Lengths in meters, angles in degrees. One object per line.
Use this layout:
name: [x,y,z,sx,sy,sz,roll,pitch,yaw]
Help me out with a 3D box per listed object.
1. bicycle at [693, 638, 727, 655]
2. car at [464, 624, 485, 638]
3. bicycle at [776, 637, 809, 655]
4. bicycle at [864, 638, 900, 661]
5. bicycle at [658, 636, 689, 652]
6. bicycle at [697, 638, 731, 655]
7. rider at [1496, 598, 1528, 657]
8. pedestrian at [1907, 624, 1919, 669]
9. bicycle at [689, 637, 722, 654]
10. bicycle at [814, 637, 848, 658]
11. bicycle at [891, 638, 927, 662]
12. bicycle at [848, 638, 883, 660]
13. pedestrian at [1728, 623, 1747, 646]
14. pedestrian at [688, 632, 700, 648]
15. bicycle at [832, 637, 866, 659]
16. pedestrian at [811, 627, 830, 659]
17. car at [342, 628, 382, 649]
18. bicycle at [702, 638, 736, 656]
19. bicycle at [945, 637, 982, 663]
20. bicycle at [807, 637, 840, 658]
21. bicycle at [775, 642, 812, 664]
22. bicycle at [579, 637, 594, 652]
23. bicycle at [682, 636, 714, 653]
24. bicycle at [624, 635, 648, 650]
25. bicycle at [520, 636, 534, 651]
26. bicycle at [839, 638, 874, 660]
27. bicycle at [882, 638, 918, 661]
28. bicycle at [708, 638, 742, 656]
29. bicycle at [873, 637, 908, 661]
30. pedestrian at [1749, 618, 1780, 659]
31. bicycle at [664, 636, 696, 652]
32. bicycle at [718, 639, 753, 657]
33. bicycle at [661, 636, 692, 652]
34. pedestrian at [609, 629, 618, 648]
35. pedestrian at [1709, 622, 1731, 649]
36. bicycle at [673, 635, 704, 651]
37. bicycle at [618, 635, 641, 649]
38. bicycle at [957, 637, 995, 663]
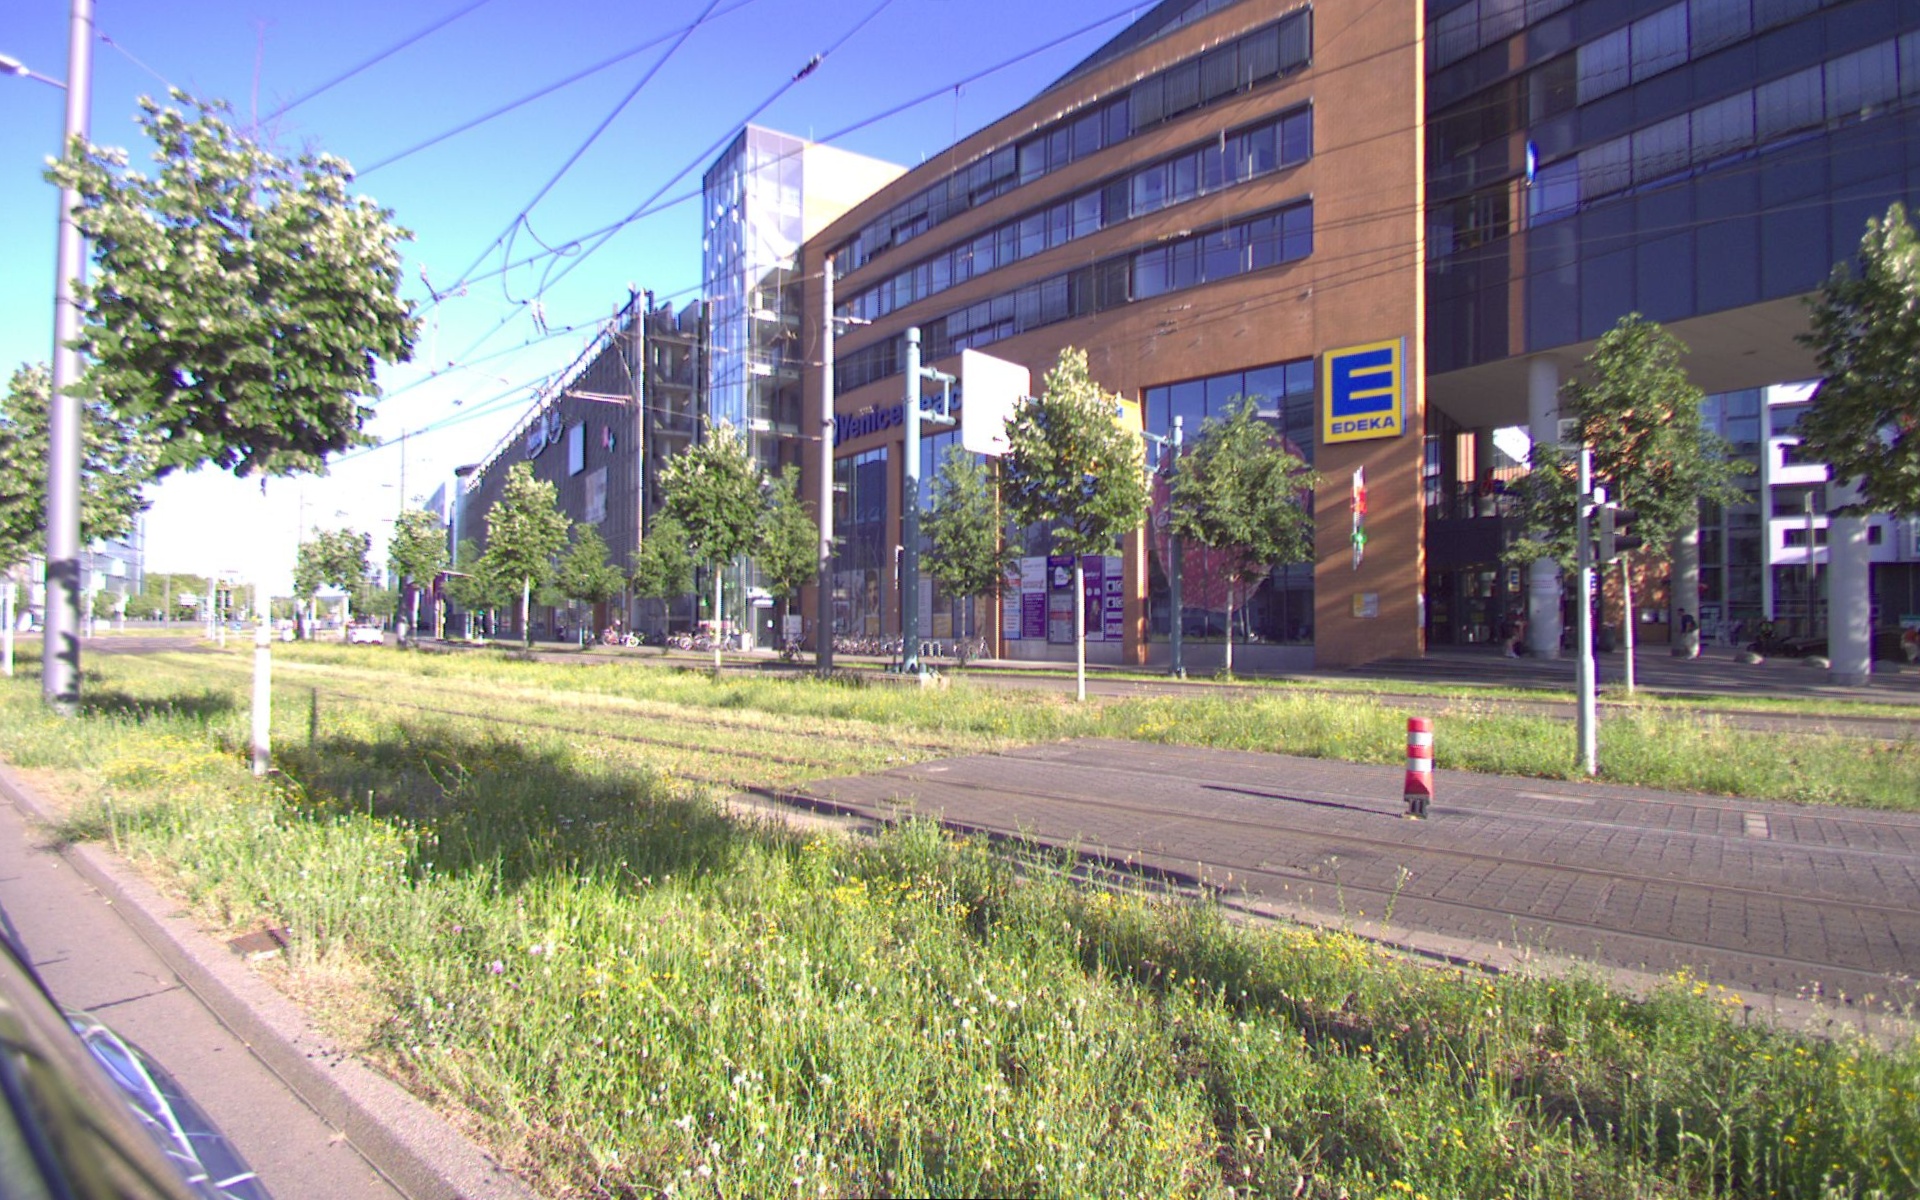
bicycle: [-14.135,2.604,57.209,1.741,0.933,0.566,1,-2,-33]
car: [-56.601,3.633,117.972,1.559,1.541,3.759,0,0,-37]
bicycle: [-9.196,2.523,55.641,1.741,0.933,0.566,1,-2,-33]
bicycle: [-3.719,2.361,48.317,1.744,1.057,0.491,1,-2,-42]
bicycle: [-17.593,2.692,62.163,1.741,0.933,0.492,1,-2,-33]
bicycle: [-13.746,2.596,56.637,1.741,0.933,0.566,1,-2,-33]
rider: [17.211,0.854,31.561,0.712,1.816,0.710,-1,-2,42]
pedestrian: [37.249,1.799,38.861,0.778,1.720,1.113,0,-1,-32]
bicycle: [-14.547,2.612,57.812,1.741,0.933,0.566,1,-2,-33]
bicycle: [-6.557,2.414,51.439,1.744,1.057,0.491,1,-2,-42]
bicycle: [-2.363,2.292,46.788,1.744,1.057,0.491,1,-2,-42]
bicycle: [-4.593,2.377,49.282,1.744,1.057,0.491,1,-2,-42]
pedestrian: [44.772,1.994,58.259,0.627,1.287,0.664,0,-1,-32]
pedestrian: [-17.645,2.642,67.176,0.619,1.063,0.450,1,-2,-37]
bicycle: [-5.532,2.395,50.366,1.744,1.057,0.491,1,-2,-42]
pedestrian: [-7.243,2.219,52.491,0.736,1.681,0.676,1,-2,-43]
car: [-39.203,2.510,66.307,1.782,1.338,4.415,2,-2,-36]
bicycle: [-13.304,2.587,55.974,1.741,0.933,0.566,1,-2,-33]
bicycle: [0.161,2.132,43.367,1.744,1.057,0.491,1,-2,-42]
bicycle: [-7.001,2.423,51.922,1.744,1.057,0.491,1,-2,-42]
bicycle: [-6.822,2.154,41.469,1.770,0.875,0.458,-1,-2,41]
bicycle: [-22.429,2.686,60.768,0.380,0.875,1.775,1,-2,-36]
bicycle: [-15.266,2.597,58.998,1.741,0.933,0.492,1,-2,-33]
bicycle: [-21.078,2.753,65.888,1.377,0.933,0.463,1,-2,-33]
bicycle: [-27.124,2.714,63.378,0.380,0.930,1.775,1,-2,-36]
bicycle: [-5.092,2.387,49.852,1.744,1.057,0.491,1,-2,-42]
bicycle: [-2.803,2.300,47.262,1.744,1.057,0.491,1,-2,-42]
bicycle: [-12.838,2.577,55.280,1.741,0.933,0.566,1,-2,-33]
bicycle: [-3.265,2.309,47.816,1.744,1.057,0.491,1,-2,-42]
pedestrian: [34.794,1.641,43.794,0.778,1.720,0.810,0,-1,-32]
bicycle: [-16.884,2.659,61.055,1.741,0.933,0.566,1,-2,-33]
bicycle: [-12.112,2.564,54.551,1.741,0.933,0.566,1,-2,-33]
bicycle: [-17.260,2.667,61.646,1.741,0.933,0.492,1,-2,-33]
pedestrian: [-23.732,2.631,69.330,0.442,1.299,0.631,1,-2,-36]
pedestrian: [43.302,2.036,57.661,1.038,1.491,0.660,0,-1,-32]
bicycle: [-16.136,2.558,60.143,1.741,0.933,0.492,1,-2,-33]
bicycle: [-21.926,2.770,67.069,1.377,0.933,0.463,1,-2,-33]
bicycle: [0.687,2.122,42.923,1.744,1.057,0.491,1,-2,-42]
